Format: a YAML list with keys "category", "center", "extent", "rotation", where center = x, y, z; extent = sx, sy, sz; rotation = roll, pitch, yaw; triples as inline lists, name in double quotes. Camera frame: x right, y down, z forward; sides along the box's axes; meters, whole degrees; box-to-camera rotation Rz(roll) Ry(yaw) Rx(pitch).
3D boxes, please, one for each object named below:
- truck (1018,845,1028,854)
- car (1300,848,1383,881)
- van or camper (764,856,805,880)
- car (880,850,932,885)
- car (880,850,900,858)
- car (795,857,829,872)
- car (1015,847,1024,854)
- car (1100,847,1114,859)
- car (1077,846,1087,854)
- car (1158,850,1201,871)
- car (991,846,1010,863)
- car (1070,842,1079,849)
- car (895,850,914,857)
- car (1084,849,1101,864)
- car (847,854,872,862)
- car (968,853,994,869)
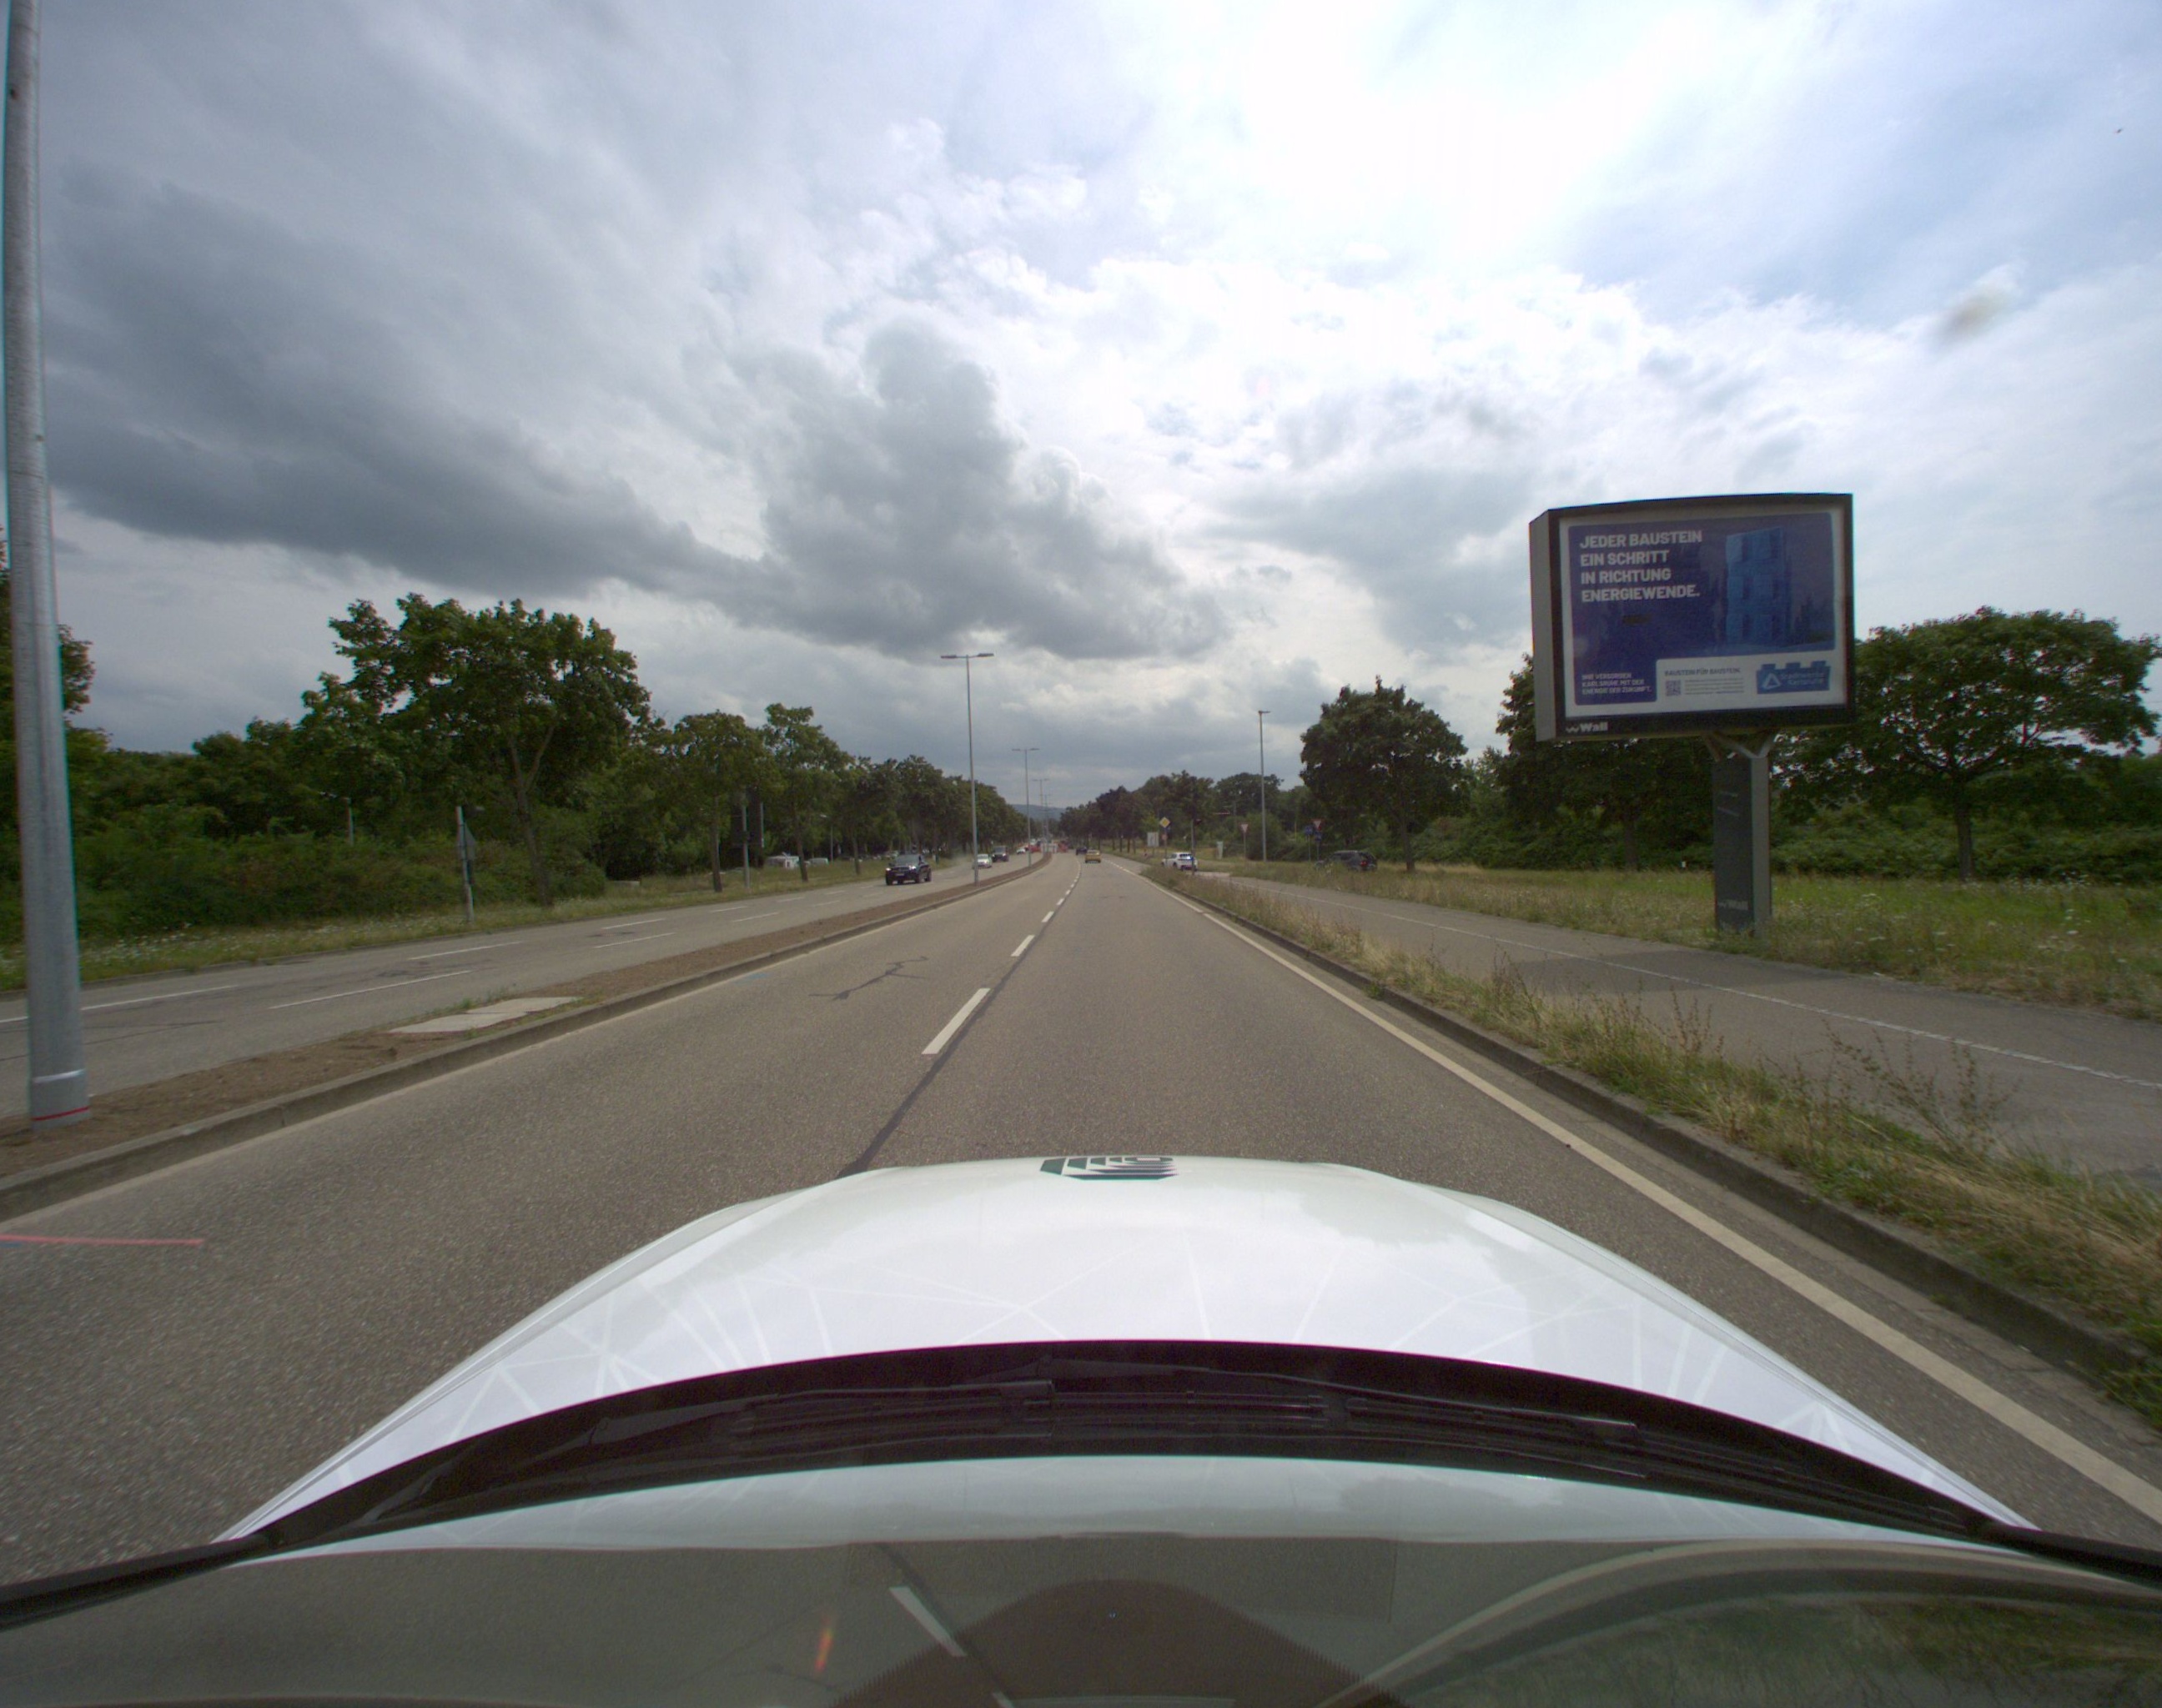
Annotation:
- category: "truck"
  center: [-14.948, -1.134, 210.657]
  extent: [2.082, 1.994, 6.037]
  rotation: [-3, 1, -1]
- category: "car"
  center: [14.171, 0.529, 44.458]
  extent: [3.950, 1.668, 1.719]
  rotation: [0, 1, 43]
- category: "van or camper"
  center: [-35.540, 1.625, 97.840]
  extent: [2.464, 2.540, 6.719]
  rotation: [-2, 1, 0]
- category: "car"
  center: [-10.445, 0.779, 48.998]
  extent: [1.987, 1.811, 4.797]
  rotation: [-3, 1, 0]
- category: "car"
  center: [-40.212, -0.032, 171.311]
  extent: [3.637, 1.519, 1.883]
  rotation: [-2, 1, 0]
- category: "car"
  center: [-36.842, 1.383, 111.605]
  extent: [3.976, 1.887, 1.938]
  rotation: [-2, 1, -2]
- category: "car"
  center: [-12.972, -0.737, 171.964]
  extent: [1.711, 1.420, 4.159]
  rotation: [-3, 1, 0]
- category: "car"
  center: [3.907, -0.133, 123.544]
  extent: [2.007, 1.670, 4.000]
  rotation: [-2, 1, 0]
- category: "car"
  center: [0.165, -0.693, 142.993]
  extent: [1.662, 1.269, 4.000]
  rotation: [-2, 1, 0]
- category: "car"
  center: [7.449, 0.471, 62.124]
  extent: [1.771, 1.464, 3.977]
  rotation: [-2, 1, -17]
- category: "car"
  center: [-11.292, -0.016, 114.529]
  extent: [2.089, 2.200, 6.002]
  rotation: [-3, 1, -1]
- category: "car"
  center: [-1.731, -2.260, 217.119]
  extent: [2.199, 1.683, 4.001]
  rotation: [-2, 1, 1]
- category: "car"
  center: [-40.788, -0.189, 188.049]
  extent: [3.760, 1.425, 1.966]
  rotation: [-2, 1, 0]
- category: "car"
  center: [1.304, 0.315, 93.891]
  extent: [1.788, 1.561, 4.000]
  rotation: [-2, 1, 0]
- category: "car"
  center: [-38.998, 0.732, 143.211]
  extent: [3.975, 1.259, 1.563]
  rotation: [-2, 1, -1]
- category: "car"
  center: [-10.426, 0.687, 85.437]
  extent: [1.986, 1.430, 4.690]
  rotation: [-3, 1, 1]
